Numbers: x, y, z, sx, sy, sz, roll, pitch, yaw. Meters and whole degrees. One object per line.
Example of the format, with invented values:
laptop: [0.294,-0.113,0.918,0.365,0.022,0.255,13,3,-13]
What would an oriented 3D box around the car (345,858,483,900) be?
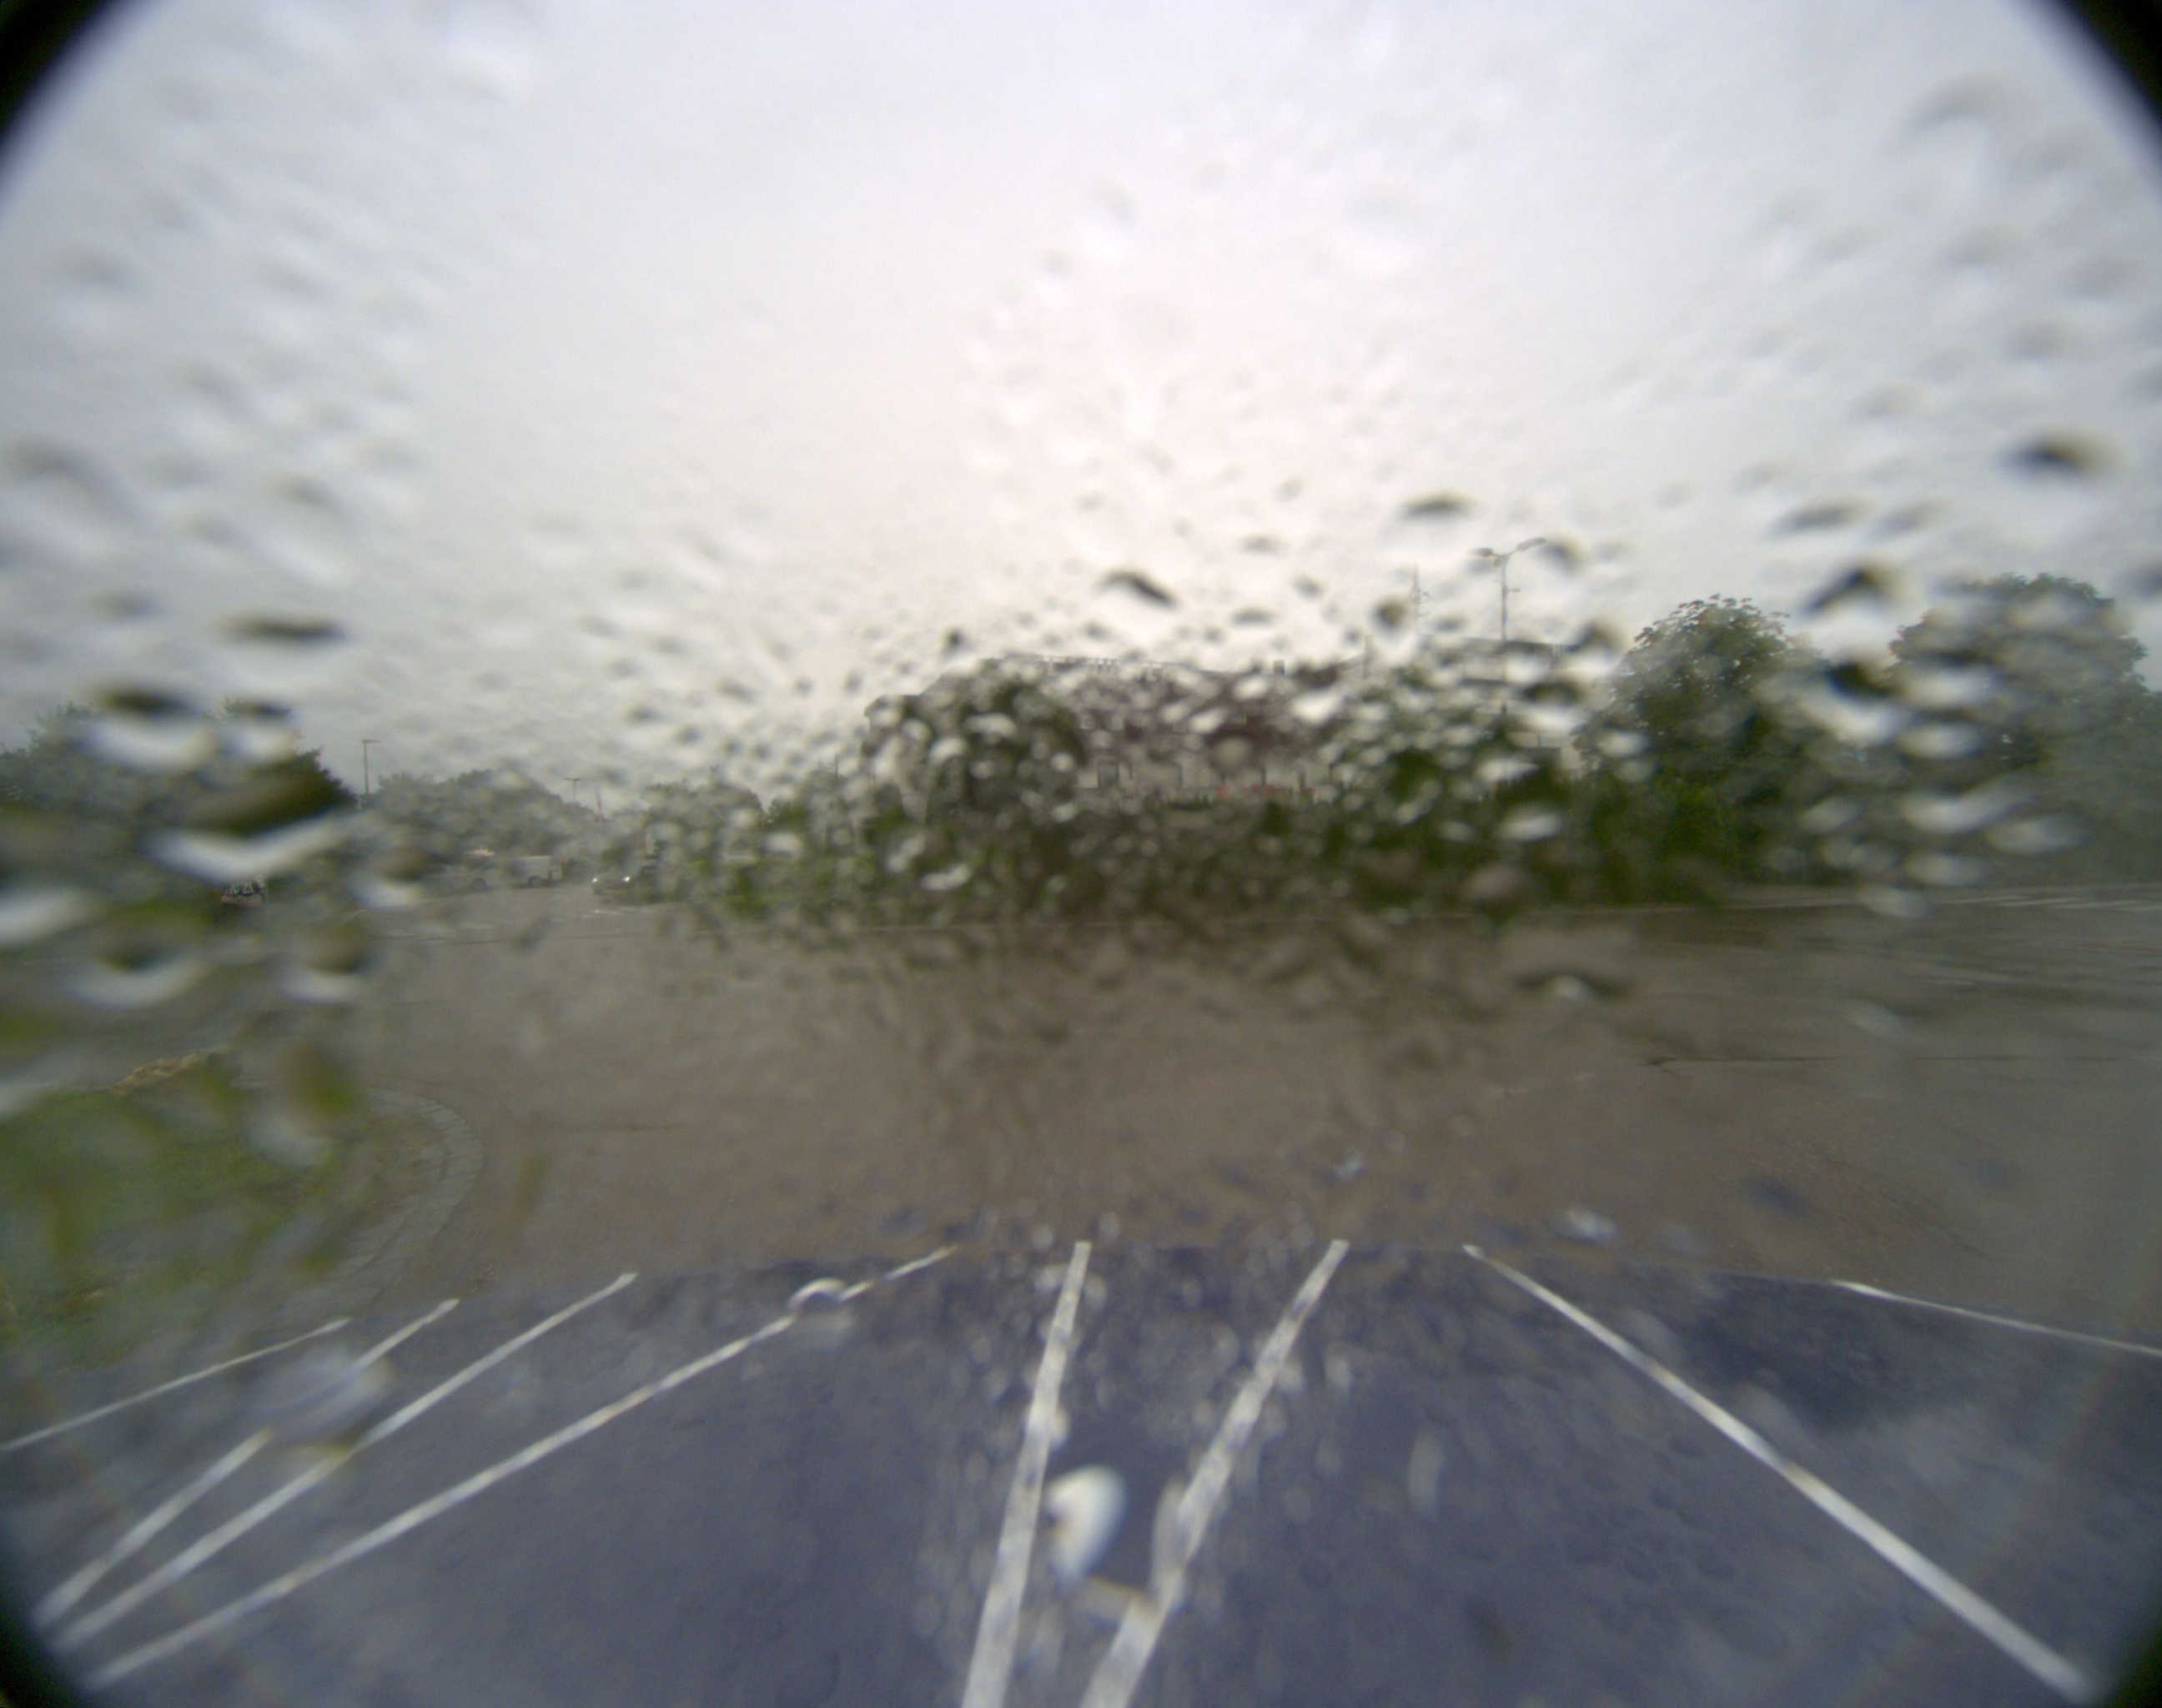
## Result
car: [-32.840,1.185,37.555,4.612,1.712,1.997,-3,1,-17]

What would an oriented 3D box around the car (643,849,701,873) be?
car: [-33.179,0.563,61.665,3.991,1.718,1.993,-2,1,22]

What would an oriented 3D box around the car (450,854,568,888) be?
car: [-35.320,1.007,47.110,5.381,1.712,1.997,-3,1,-17]

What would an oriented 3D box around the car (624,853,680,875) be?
car: [-33.644,0.804,59.654,3.879,1.561,1.752,-2,1,23]

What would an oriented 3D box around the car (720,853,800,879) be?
car: [-19.951,0.717,47.397,4.363,1.417,1.847,-2,1,-18]

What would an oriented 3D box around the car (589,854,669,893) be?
car: [-20.717,0.843,35.027,1.706,1.417,4.354,-2,3,-11]

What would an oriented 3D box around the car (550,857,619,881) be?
car: [-35.875,1.091,54.908,4.637,1.541,2.003,-2,1,26]

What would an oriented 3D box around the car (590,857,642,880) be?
car: [-35.287,1.086,57.658,3.717,1.540,1.669,-2,2,28]
